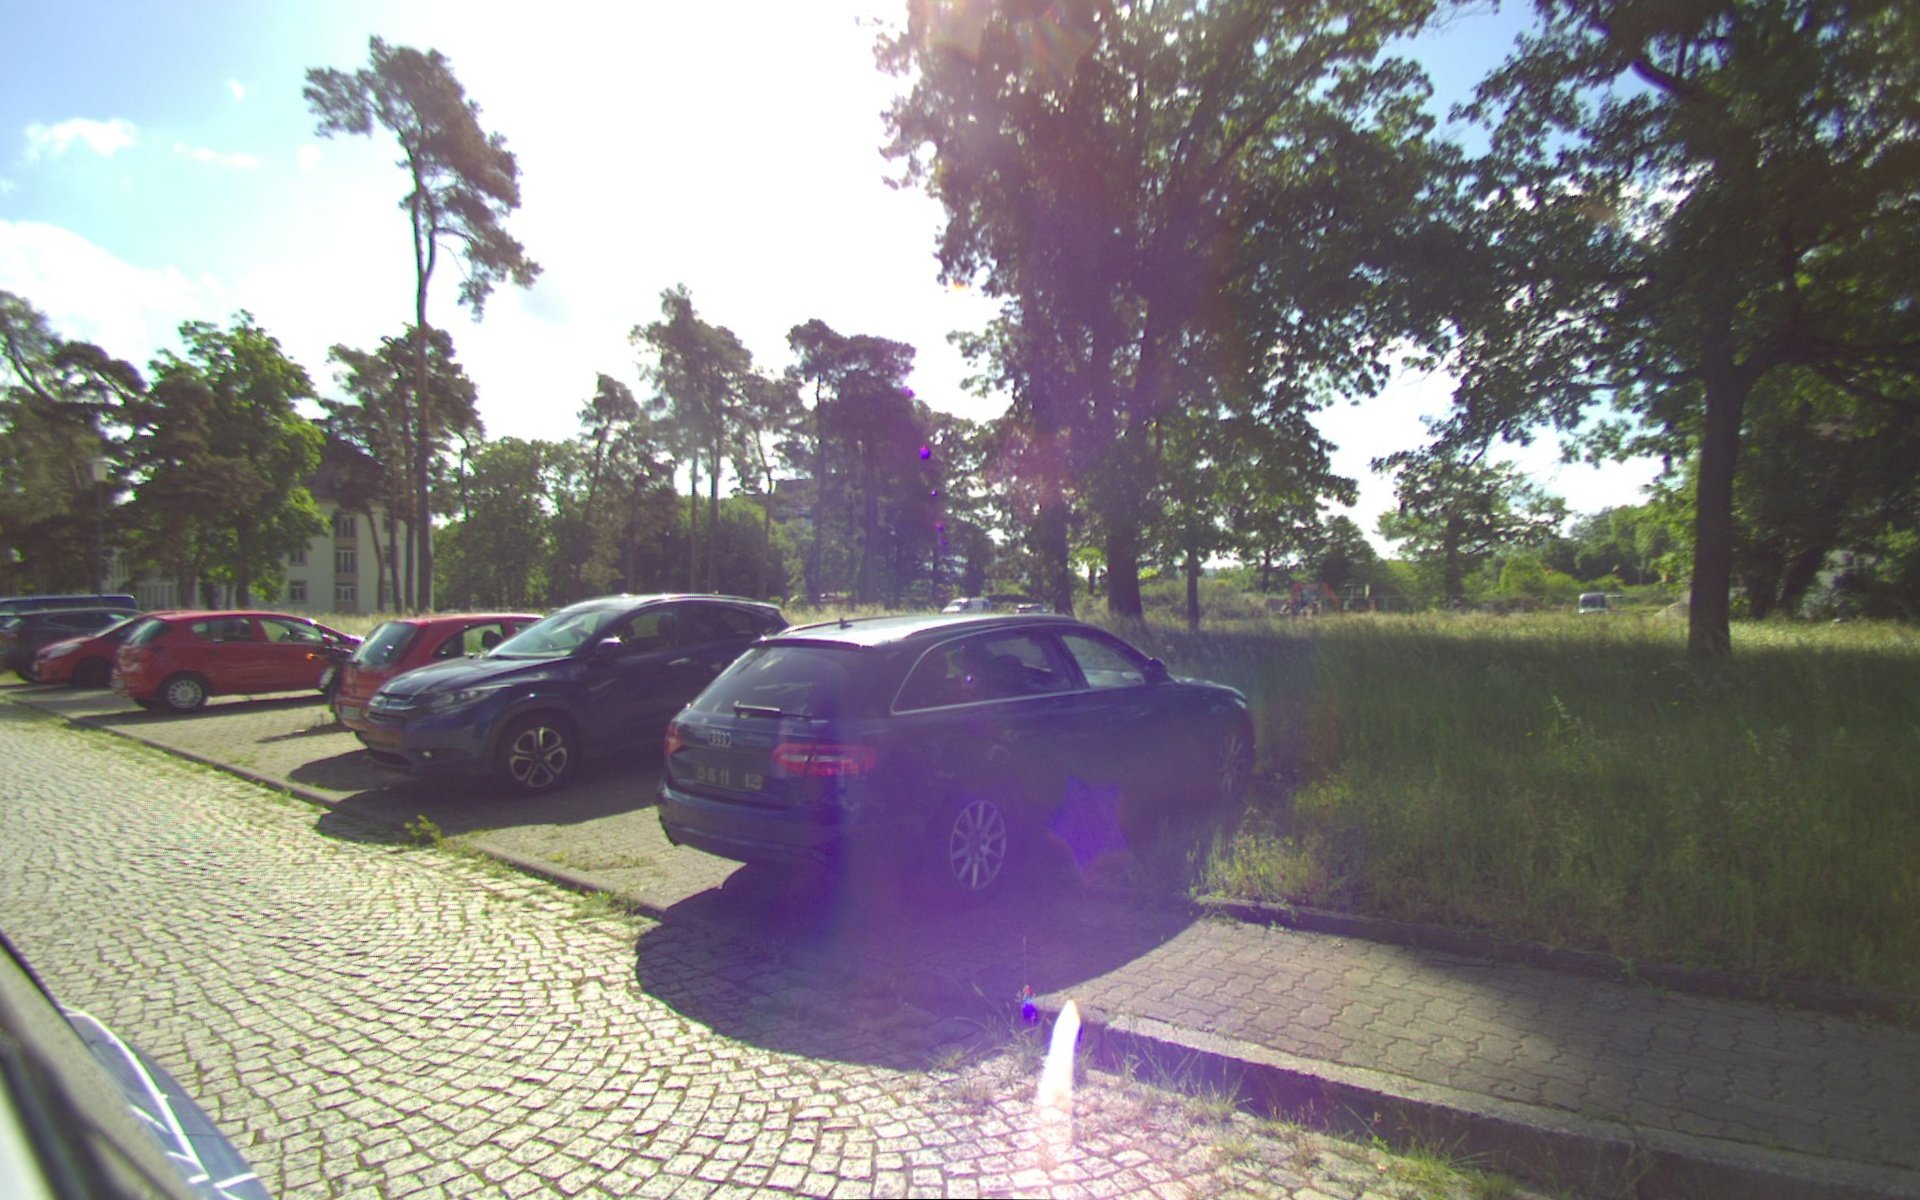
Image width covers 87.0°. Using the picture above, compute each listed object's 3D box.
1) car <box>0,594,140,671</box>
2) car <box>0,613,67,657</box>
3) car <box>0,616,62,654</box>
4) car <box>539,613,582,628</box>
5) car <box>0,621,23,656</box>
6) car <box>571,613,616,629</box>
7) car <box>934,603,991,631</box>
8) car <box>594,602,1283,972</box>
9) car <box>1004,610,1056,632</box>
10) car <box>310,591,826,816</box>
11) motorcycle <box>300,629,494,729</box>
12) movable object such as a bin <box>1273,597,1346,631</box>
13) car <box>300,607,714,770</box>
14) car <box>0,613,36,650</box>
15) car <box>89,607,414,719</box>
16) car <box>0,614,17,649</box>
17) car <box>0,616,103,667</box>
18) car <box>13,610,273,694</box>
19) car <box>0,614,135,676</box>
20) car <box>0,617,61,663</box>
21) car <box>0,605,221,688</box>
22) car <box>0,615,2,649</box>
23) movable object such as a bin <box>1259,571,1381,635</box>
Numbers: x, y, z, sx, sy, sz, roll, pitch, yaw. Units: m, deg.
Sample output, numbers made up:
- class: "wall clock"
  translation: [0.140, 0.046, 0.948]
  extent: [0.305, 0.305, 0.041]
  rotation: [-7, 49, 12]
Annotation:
- class: "car"
  translation: [-26.121, 0.899, 28.263]
  extent: [2.003, 1.982, 4.671]
  rotation: [-1, 1, 39]
- class: "car"
  translation: [-34.342, 1.274, 35.711]
  extent: [1.820, 1.463, 4.035]
  rotation: [0, 1, 40]
- class: "car"
  translation: [-38.044, 1.395, 39.046]
  extent: [1.937, 1.431, 4.816]
  rotation: [-1, 1, 39]
- class: "car"
  translation: [-43.867, 2.208, 111.210]
  extent: [1.719, 1.593, 4.053]
  rotation: [-1, -1, 41]
- class: "car"
  translation: [-36.774, 1.451, 36.943]
  extent: [1.759, 1.243, 3.594]
  rotation: [0, 1, 40]
- class: "car"
  translation: [-38.361, 2.213, 105.950]
  extent: [1.840, 1.642, 4.004]
  rotation: [-1, -2, 41]
- class: "car"
  translation: [0.228, 1.397, 81.330]
  extent: [1.956, 2.180, 4.796]
  rotation: [-1, -1, 40]
- class: "car"
  translation: [0.188, 0.789, 6.403]
  extent: [1.920, 1.456, 4.313]
  rotation: [-2, 0, 42]
- class: "car"
  translation: [5.397, 1.607, 77.332]
  extent: [1.911, 1.617, 4.185]
  rotation: [-1, -1, 40]
- class: "car"
  translation: [-3.411, 0.747, 9.453]
  extent: [1.882, 1.591, 4.094]
  rotation: [-2, 0, 39]
- class: "motorcycle"
  translation: [-7.499, 1.004, 13.589]
  extent: [0.576, 1.170, 2.219]
  rotation: [-1, 0, 40]
- class: "movable object such as a bin"
  translation: [23.299, 0.947, 67.741]
  extent: [2.490, 2.142, 5.686]
  rotation: [0, -1, -5]
- class: "car"
  translation: [-4.965, 0.852, 11.495]
  extent: [1.841, 1.443, 3.883]
  rotation: [-2, 0, 40]
- class: "car"
  translation: [-40.118, 1.335, 40.204]
  extent: [1.937, 1.431, 4.816]
  rotation: [0, 1, 39]
- class: "car"
  translation: [-11.173, 0.910, 16.189]
  extent: [1.839, 1.472, 3.886]
  rotation: [-2, 0, 38]
- class: "car"
  translation: [-42.298, 1.394, 41.831]
  extent: [1.980, 1.463, 4.541]
  rotation: [0, 1, 36]
- class: "car"
  translation: [-29.969, 1.312, 31.957]
  extent: [1.822, 1.486, 4.155]
  rotation: [-1, 0, 39]
- class: "car"
  translation: [-16.934, 1.013, 21.131]
  extent: [1.864, 1.460, 3.886]
  rotation: [-2, 0, 38]
- class: "car"
  translation: [-24.242, 1.162, 26.493]
  extent: [1.680, 1.451, 3.782]
  rotation: [-1, 1, 36]
- class: "car"
  translation: [-32.522, 1.361, 33.379]
  extent: [1.921, 1.436, 4.035]
  rotation: [-1, 0, 40]
- class: "car"
  translation: [-19.220, 0.975, 22.646]
  extent: [1.971, 1.579, 3.916]
  rotation: [-2, 0, 38]
- class: "car"
  translation: [-44.215, 1.454, 43.626]
  extent: [1.946, 1.494, 3.989]
  rotation: [-2, 0, 37]
- class: "movable object such as a bin"
  translation: [21.932, 0.229, 62.187]
  extent: [6.729, 3.759, 3.911]
  rotation: [0, -1, 16]
